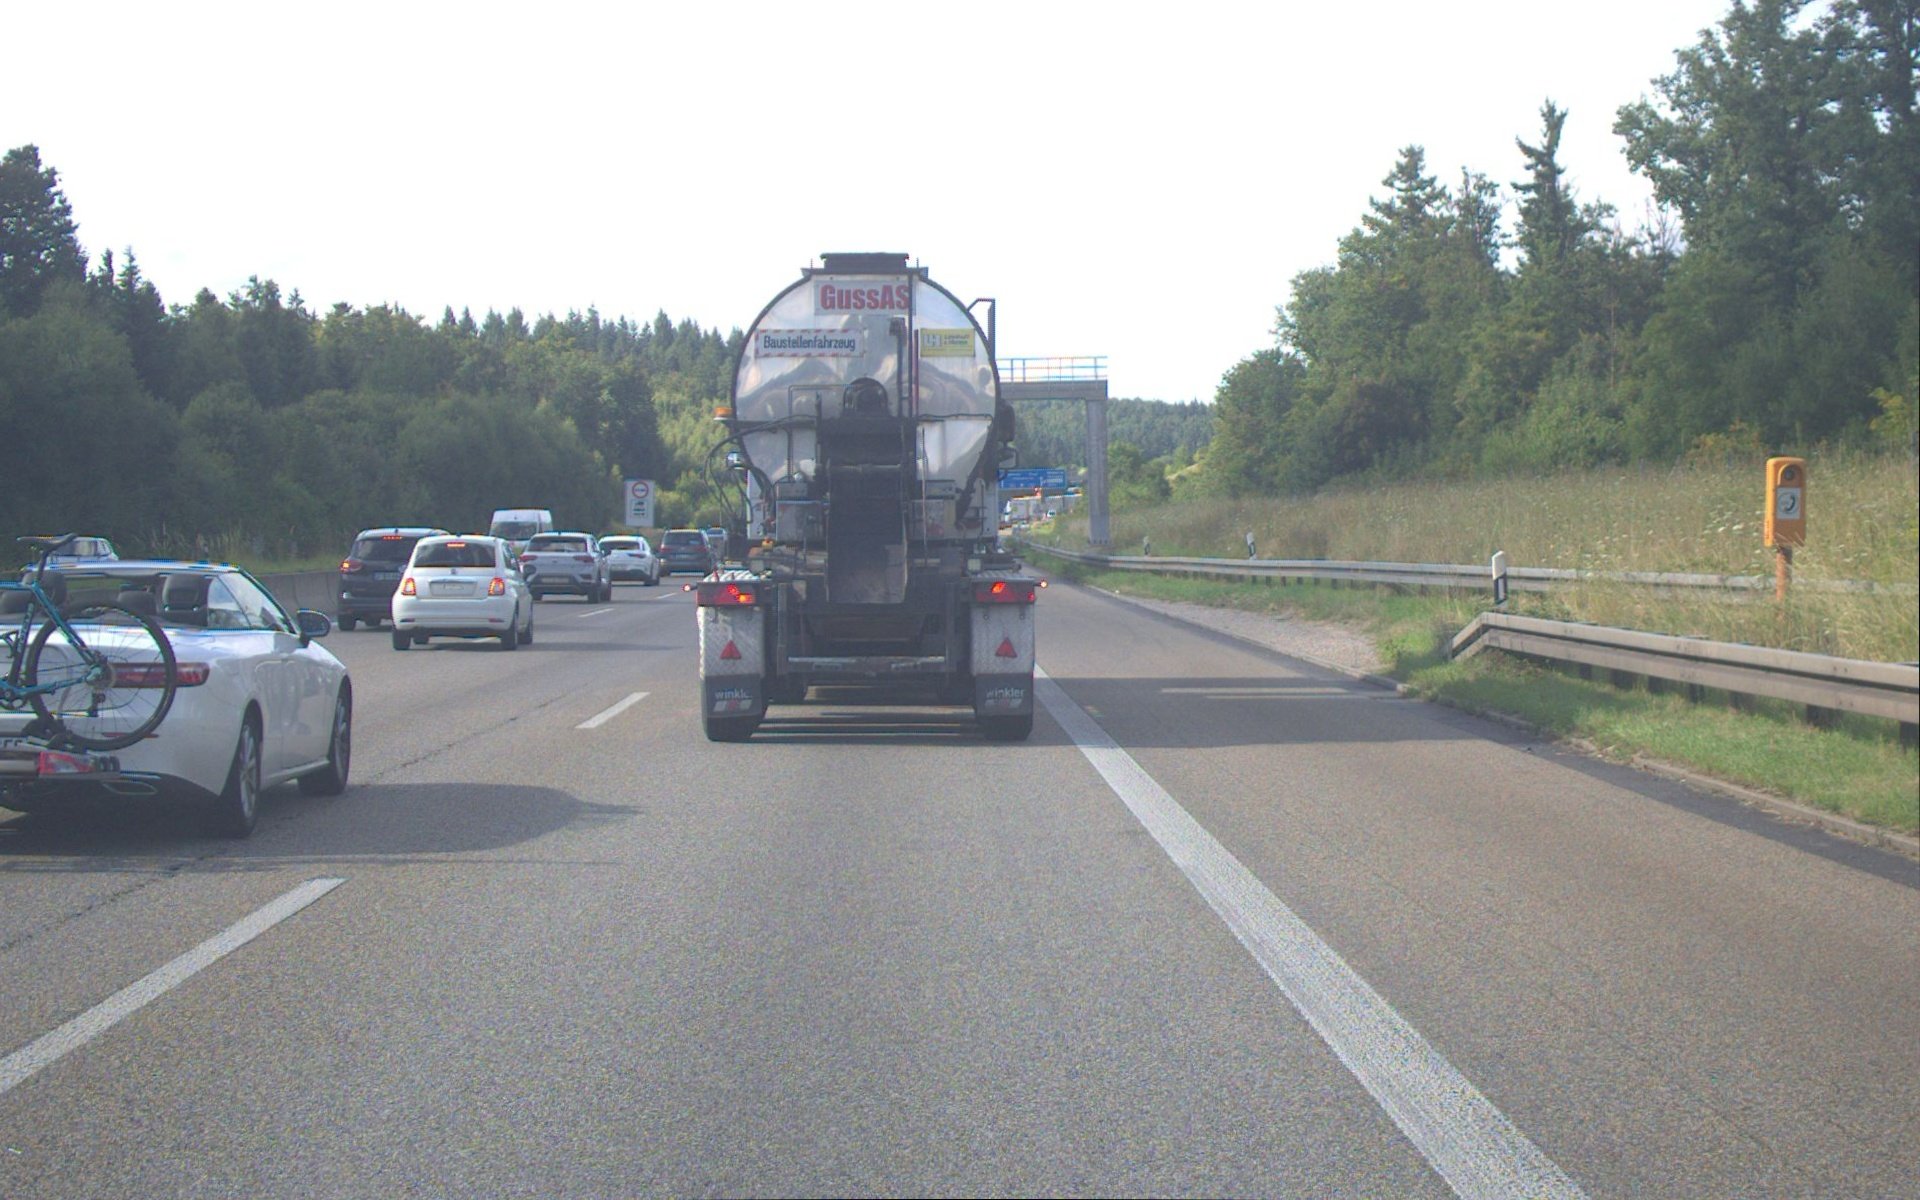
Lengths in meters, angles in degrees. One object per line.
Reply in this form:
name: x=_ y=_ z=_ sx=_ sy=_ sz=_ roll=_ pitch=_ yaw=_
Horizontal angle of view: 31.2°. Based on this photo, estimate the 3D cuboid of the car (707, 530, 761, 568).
car: x=-9.091 y=-2.060 z=138.589 sx=1.942 sy=1.451 sz=4.207 roll=0 pitch=2 yaw=-1

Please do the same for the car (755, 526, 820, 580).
car: x=-5.529 y=-1.534 z=110.593 sx=1.942 sy=1.649 sz=4.207 roll=0 pitch=2 yaw=-1

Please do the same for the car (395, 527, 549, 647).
car: x=-6.508 y=-0.200 z=46.121 sx=1.618 sy=1.539 sz=3.520 roll=0 pitch=1 yaw=-1

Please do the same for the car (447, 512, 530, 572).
car: x=-18.677 y=-2.322 z=136.468 sx=2.579 sy=2.338 sz=5.829 roll=0 pitch=1 yaw=-1

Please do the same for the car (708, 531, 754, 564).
car: x=-10.651 y=-2.436 z=159.996 sx=1.942 sy=1.451 sz=4.207 roll=0 pitch=2 yaw=-1

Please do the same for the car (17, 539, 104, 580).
car: x=-24.576 y=-1.127 z=94.030 sx=1.591 sy=1.090 sz=3.173 roll=0 pitch=1 yaw=-1

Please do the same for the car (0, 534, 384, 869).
car: x=-4.548 y=0.401 z=18.272 sx=2.060 sy=1.494 sz=5.736 roll=0 pitch=1 yaw=-1

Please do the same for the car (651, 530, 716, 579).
car: x=-9.415 y=-1.563 z=117.363 sx=1.942 sy=1.580 sz=4.207 roll=0 pitch=2 yaw=-1

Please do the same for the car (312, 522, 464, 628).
car: x=-9.094 y=-0.434 z=54.932 sx=1.806 sy=1.580 sz=4.207 roll=0 pitch=2 yaw=-1

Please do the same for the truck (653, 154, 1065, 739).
truck: x=-0.755 y=-1.212 z=30.002 sx=2.912 sy=4.143 sz=11.270 roll=0 pitch=1 yaw=0

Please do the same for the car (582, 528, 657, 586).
car: x=-9.726 y=-1.245 z=98.486 sx=1.806 sy=1.580 sz=4.207 roll=0 pitch=2 yaw=-1

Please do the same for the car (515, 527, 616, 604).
car: x=-8.649 y=-0.782 z=75.557 sx=1.806 sy=1.580 sz=4.207 roll=0 pitch=2 yaw=-1
